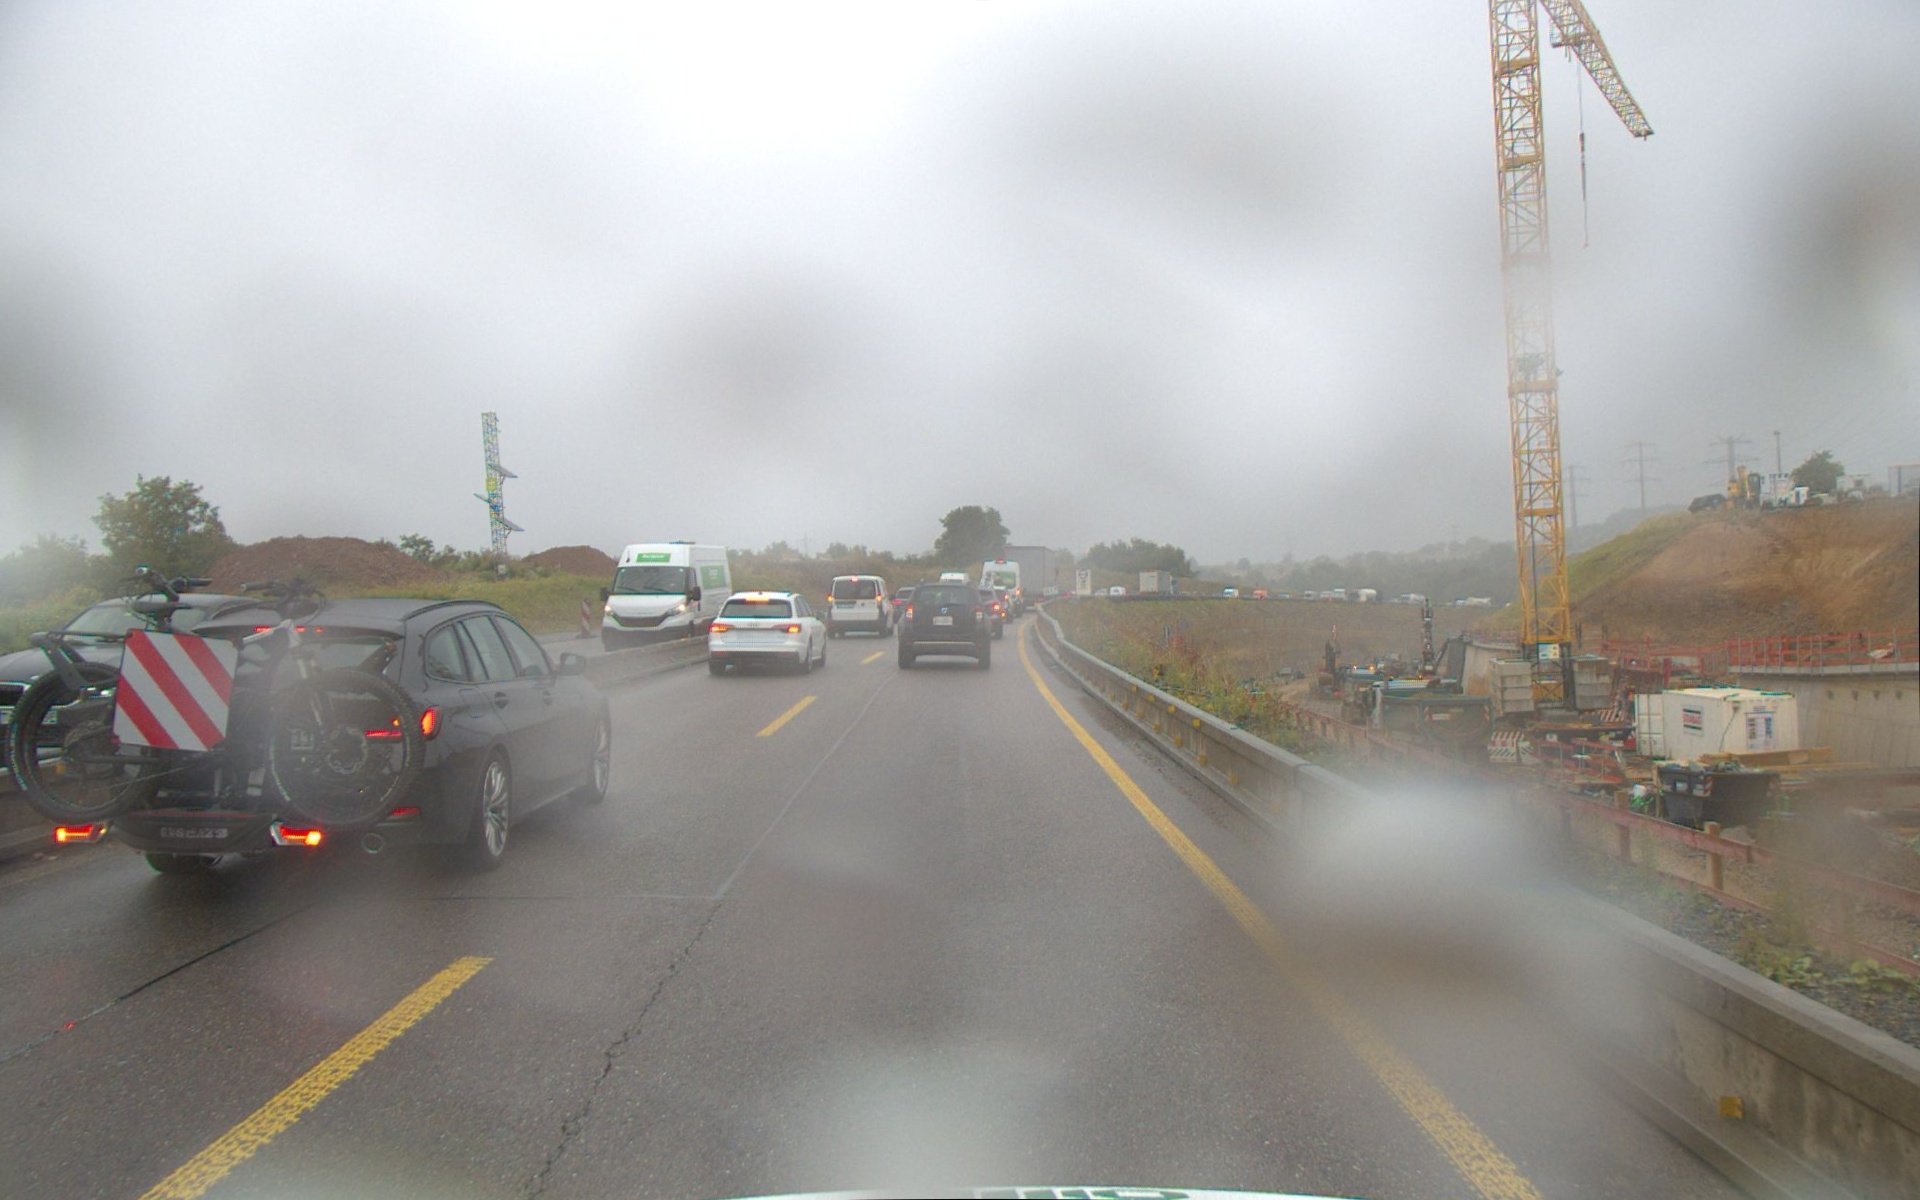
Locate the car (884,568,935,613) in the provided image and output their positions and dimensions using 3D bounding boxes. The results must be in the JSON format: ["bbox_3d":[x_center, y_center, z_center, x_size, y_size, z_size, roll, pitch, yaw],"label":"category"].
[{"bbox_3d":[-2.157,-0.380,71.514,1.788,1.847,4.002,1,0,4],"label":"car"}]

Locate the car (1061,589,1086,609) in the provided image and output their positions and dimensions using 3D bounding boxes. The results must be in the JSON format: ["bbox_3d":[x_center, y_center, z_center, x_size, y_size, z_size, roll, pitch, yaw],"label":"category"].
[{"bbox_3d":[12.512,-0.057,181.486,1.991,2.150,4.161,1,0,15],"label":"car"}]

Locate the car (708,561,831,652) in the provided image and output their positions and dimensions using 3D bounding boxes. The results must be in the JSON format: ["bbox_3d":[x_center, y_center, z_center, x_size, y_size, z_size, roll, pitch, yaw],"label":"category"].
[{"bbox_3d":[-3.366,0.121,29.900,1.789,1.525,3.999,1,0,-1],"label":"car"}]

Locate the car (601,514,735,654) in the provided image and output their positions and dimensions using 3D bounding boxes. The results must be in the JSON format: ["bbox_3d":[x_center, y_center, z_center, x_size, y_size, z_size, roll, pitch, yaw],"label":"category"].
[{"bbox_3d":[-7.020,-0.388,40.528,1.953,3.098,7.171,1,0,0],"label":"car"}]

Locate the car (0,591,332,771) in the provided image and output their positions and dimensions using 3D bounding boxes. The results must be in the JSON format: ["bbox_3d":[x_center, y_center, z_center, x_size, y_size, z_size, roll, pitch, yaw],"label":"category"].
[{"bbox_3d":[-7.955,0.675,16.377,1.711,1.521,4.749,0,0,-1],"label":"car"}]

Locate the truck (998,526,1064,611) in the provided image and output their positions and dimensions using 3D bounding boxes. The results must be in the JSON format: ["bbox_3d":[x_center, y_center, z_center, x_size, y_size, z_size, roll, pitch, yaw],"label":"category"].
[{"bbox_3d":[4.673,-1.921,106.363,3.468,5.166,10.448,1,0,6],"label":"truck"}]

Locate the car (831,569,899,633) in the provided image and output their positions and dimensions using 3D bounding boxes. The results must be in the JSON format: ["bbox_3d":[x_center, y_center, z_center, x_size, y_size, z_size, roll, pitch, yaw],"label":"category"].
[{"bbox_3d":[-2.855,0.035,50.625,1.789,1.847,4.000,1,0,1],"label":"car"}]

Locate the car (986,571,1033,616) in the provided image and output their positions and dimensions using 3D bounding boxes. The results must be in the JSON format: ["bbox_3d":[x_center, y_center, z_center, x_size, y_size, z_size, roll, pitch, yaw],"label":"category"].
[{"bbox_3d":[2.152,-0.272,71.036,1.788,1.847,4.002,1,0,5],"label":"car"}]

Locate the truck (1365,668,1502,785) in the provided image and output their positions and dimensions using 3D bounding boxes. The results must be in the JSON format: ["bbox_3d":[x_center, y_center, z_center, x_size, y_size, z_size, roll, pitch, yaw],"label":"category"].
[{"bbox_3d":[16.935,4.413,59.766,2.643,3.565,8.950,1,0,2],"label":"truck"}]

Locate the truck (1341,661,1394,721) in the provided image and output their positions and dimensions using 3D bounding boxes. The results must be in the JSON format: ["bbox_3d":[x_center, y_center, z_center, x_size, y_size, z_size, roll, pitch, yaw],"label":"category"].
[{"bbox_3d":[27.596,6.106,112.311,2.671,3.552,9.072,1,0,9],"label":"truck"}]

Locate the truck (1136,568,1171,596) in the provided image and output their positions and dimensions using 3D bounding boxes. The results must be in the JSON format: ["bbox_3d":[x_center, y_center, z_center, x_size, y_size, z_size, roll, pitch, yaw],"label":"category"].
[{"bbox_3d":[26.785,-2.506,228.273,3.398,3.780,8.423,-1,1,16],"label":"truck"}]

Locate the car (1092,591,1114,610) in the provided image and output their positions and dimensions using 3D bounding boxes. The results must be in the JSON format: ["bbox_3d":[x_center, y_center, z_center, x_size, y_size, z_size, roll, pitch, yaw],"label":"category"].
[{"bbox_3d":[17.765,0.057,204.883,1.991,2.295,4.161,0,0,15],"label":"car"}]

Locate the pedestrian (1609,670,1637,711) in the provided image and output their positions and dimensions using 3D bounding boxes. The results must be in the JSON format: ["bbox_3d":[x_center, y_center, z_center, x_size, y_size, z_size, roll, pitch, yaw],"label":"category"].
[{"bbox_3d":[36.152,4.931,90.213,0.885,2.031,0.899,10,0,9],"label":"pedestrian"}]

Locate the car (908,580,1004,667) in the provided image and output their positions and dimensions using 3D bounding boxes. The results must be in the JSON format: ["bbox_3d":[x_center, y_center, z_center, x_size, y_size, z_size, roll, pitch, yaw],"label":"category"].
[{"bbox_3d":[-0.047,0.449,33.041,1.788,1.619,4.000,1,0,1],"label":"car"}]

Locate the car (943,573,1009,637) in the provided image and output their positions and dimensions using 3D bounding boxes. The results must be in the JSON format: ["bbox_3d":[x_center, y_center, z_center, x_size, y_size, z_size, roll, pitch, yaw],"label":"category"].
[{"bbox_3d":[0.531,0.166,50.460,1.788,1.847,4.001,1,0,3],"label":"car"}]

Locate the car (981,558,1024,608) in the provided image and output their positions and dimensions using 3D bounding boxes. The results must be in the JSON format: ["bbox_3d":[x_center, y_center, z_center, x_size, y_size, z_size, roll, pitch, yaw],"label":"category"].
[{"bbox_3d":[2.224,-0.847,84.845,1.787,2.480,4.161,1,0,7],"label":"car"}]

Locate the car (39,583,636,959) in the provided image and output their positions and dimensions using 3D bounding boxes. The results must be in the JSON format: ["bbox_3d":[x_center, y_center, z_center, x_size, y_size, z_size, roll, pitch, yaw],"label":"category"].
[{"bbox_3d":[-3.226,0.705,9.951,1.700,1.488,5.627,0,2,-3],"label":"car"}]
